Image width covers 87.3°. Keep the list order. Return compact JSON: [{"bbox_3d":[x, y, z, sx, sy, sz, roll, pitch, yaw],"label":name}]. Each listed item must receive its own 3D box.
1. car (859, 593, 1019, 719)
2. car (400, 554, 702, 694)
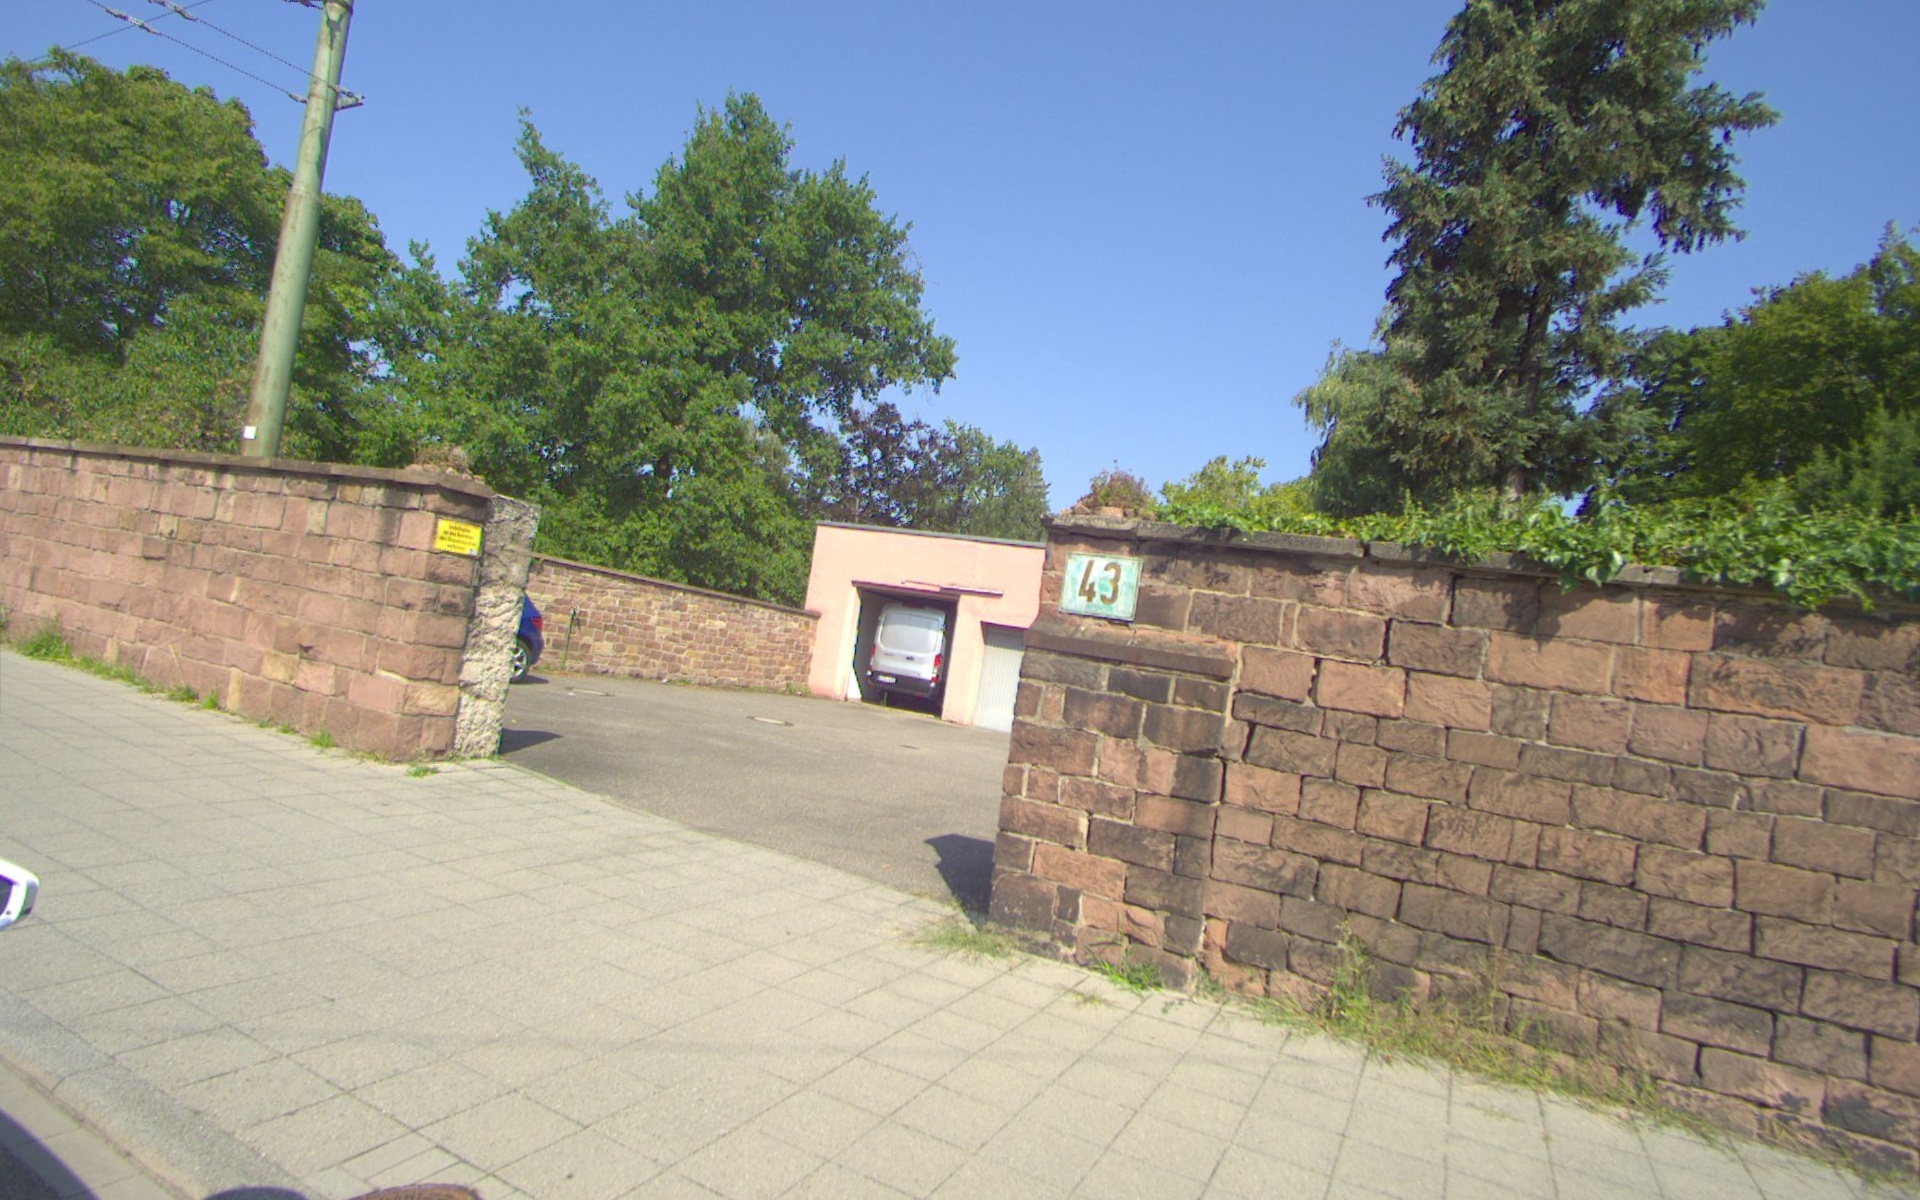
[{"bbox_3d":[-0.433,1.484,25.299,2.030,2.558,4.002,7,-4,28],"label":"car"},{"bbox_3d":[-6.062,0.463,15.443,1.746,1.479,3.984,8,-4,27],"label":"car"}]
